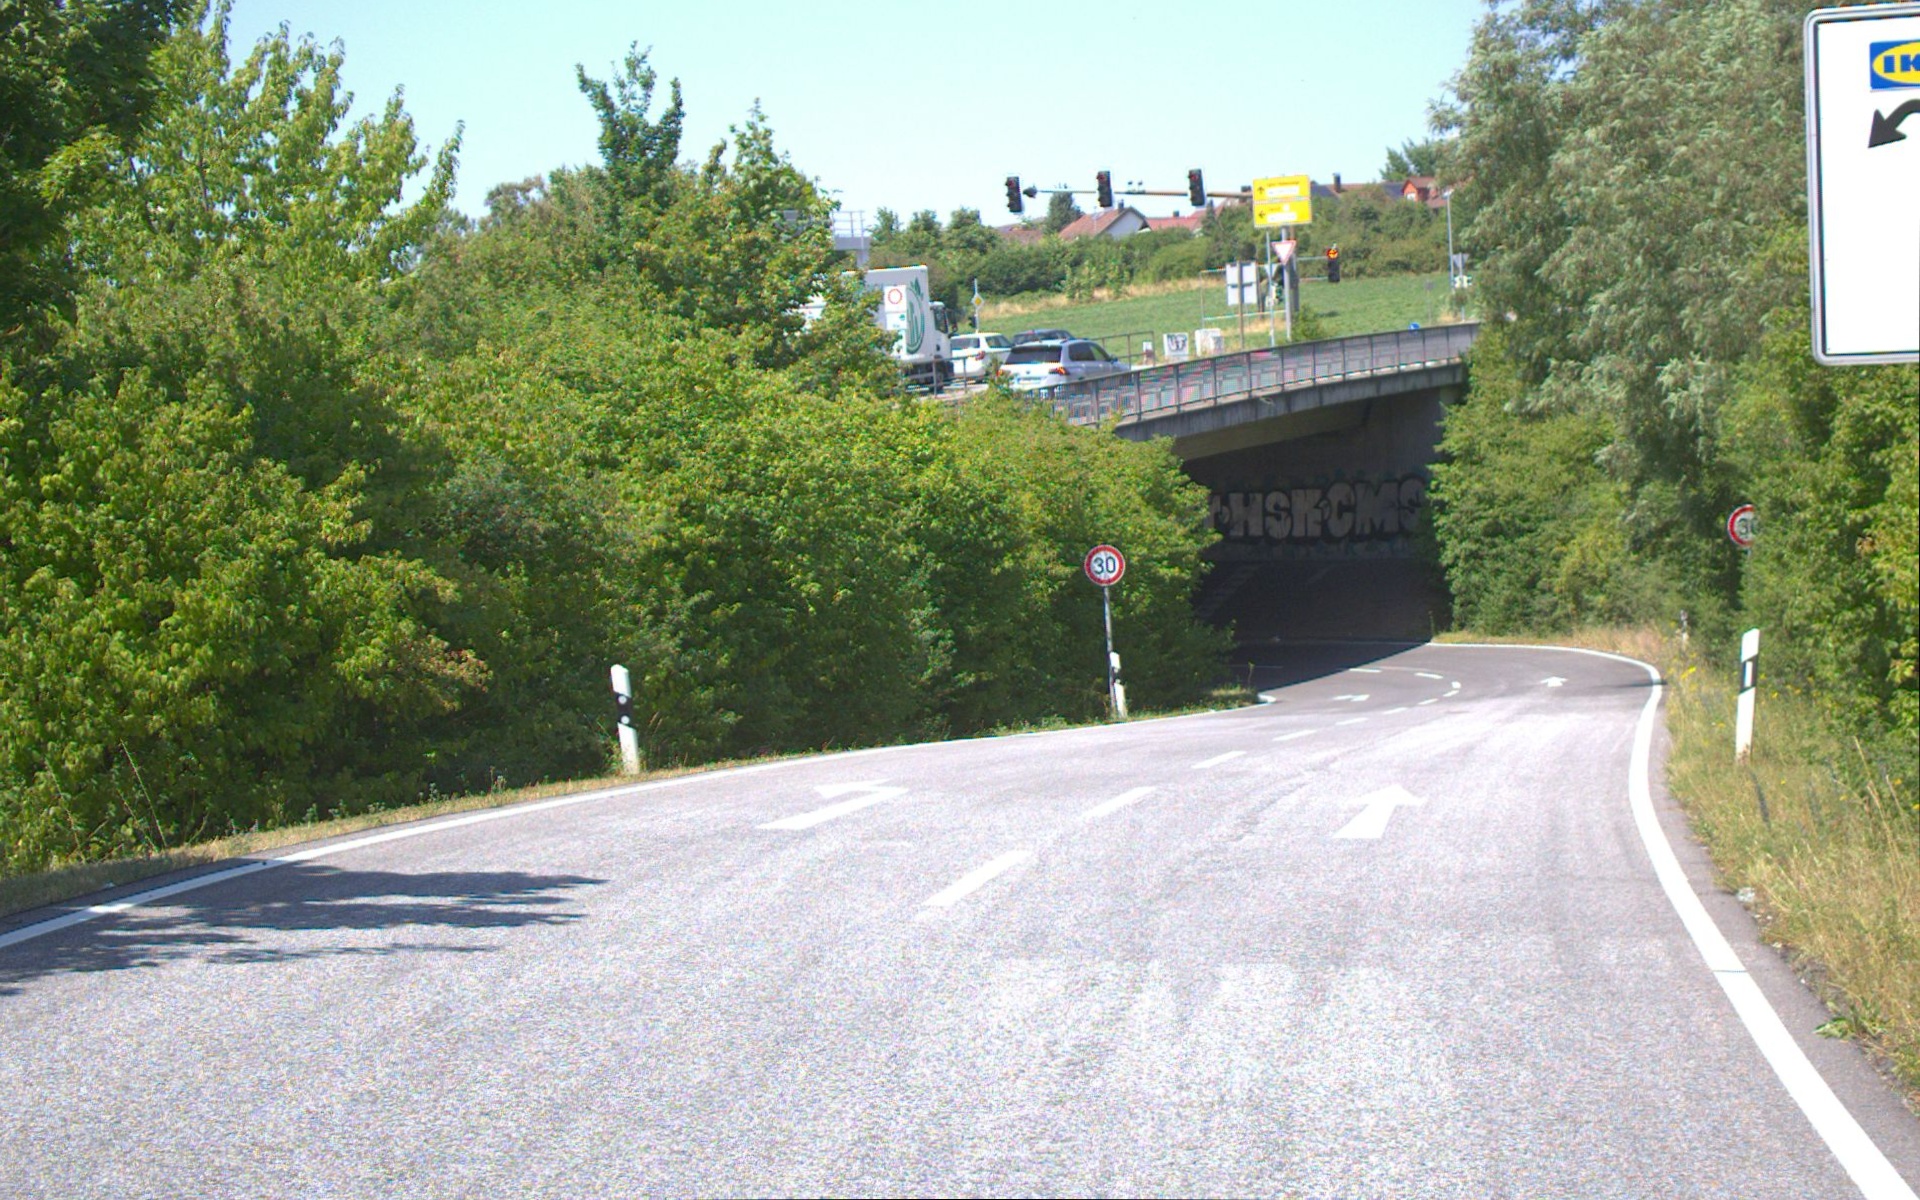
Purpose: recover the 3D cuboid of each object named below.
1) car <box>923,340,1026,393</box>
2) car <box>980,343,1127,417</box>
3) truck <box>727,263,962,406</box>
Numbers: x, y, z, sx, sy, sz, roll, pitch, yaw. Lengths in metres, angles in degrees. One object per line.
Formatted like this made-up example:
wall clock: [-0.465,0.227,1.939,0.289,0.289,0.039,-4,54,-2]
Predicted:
car: [0.448,-6.956,102.557,1.899,1.358,3.997,-1,1,19]
car: [2.076,-4.813,75.293,1.995,1.416,3.997,-3,2,20]
truck: [-3.075,-7.299,95.380,3.030,3.577,8.895,-3,2,22]
